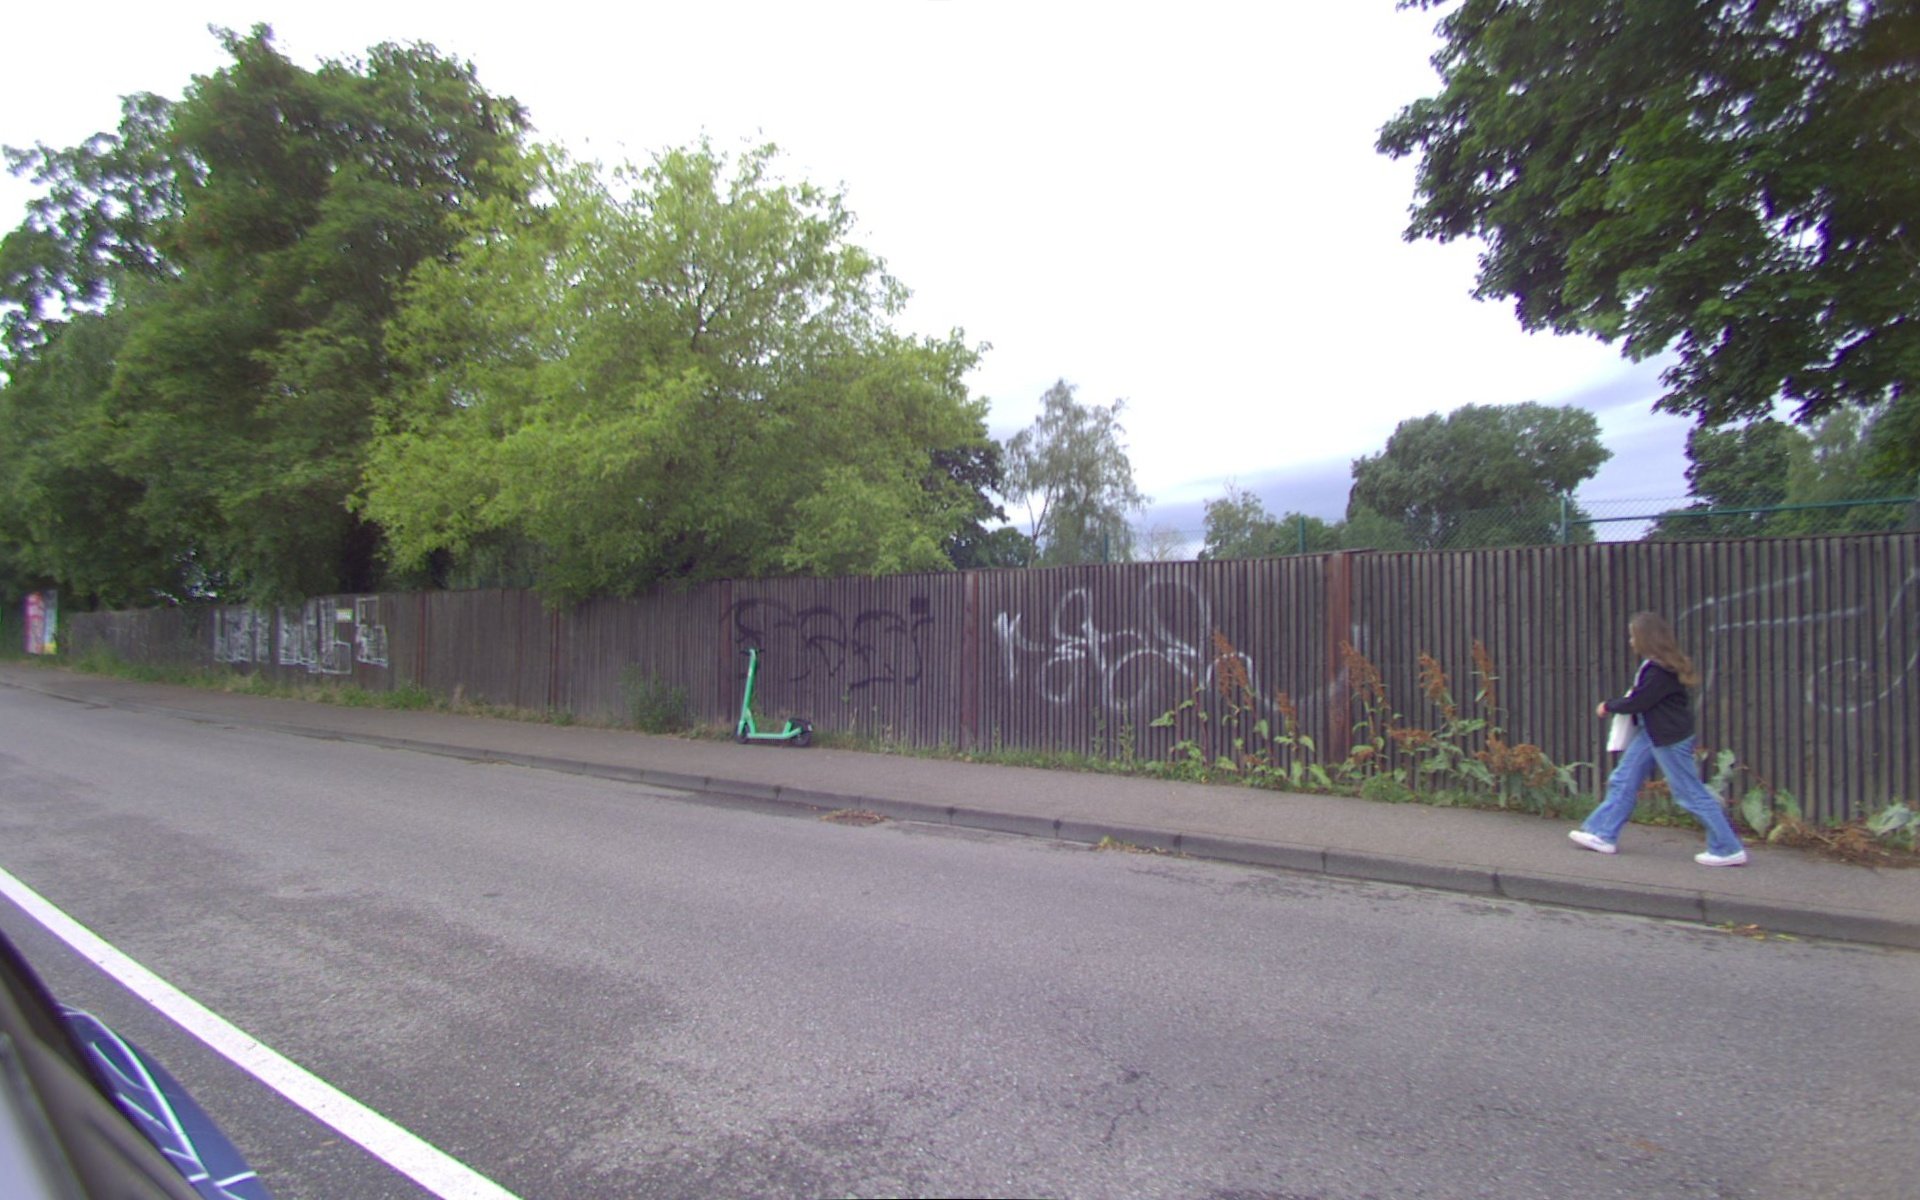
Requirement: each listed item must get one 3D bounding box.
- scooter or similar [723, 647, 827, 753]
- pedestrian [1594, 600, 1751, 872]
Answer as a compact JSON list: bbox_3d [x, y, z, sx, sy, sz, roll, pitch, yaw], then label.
[{"bbox_3d":[-2.199,1.157,11.985,1.300,1.179,0.419,-2,-2,35],"label":"scooter or similar"},{"bbox_3d":[4.362,0.785,6.221,0.722,1.541,0.607,-2,-2,36],"label":"pedestrian"}]
